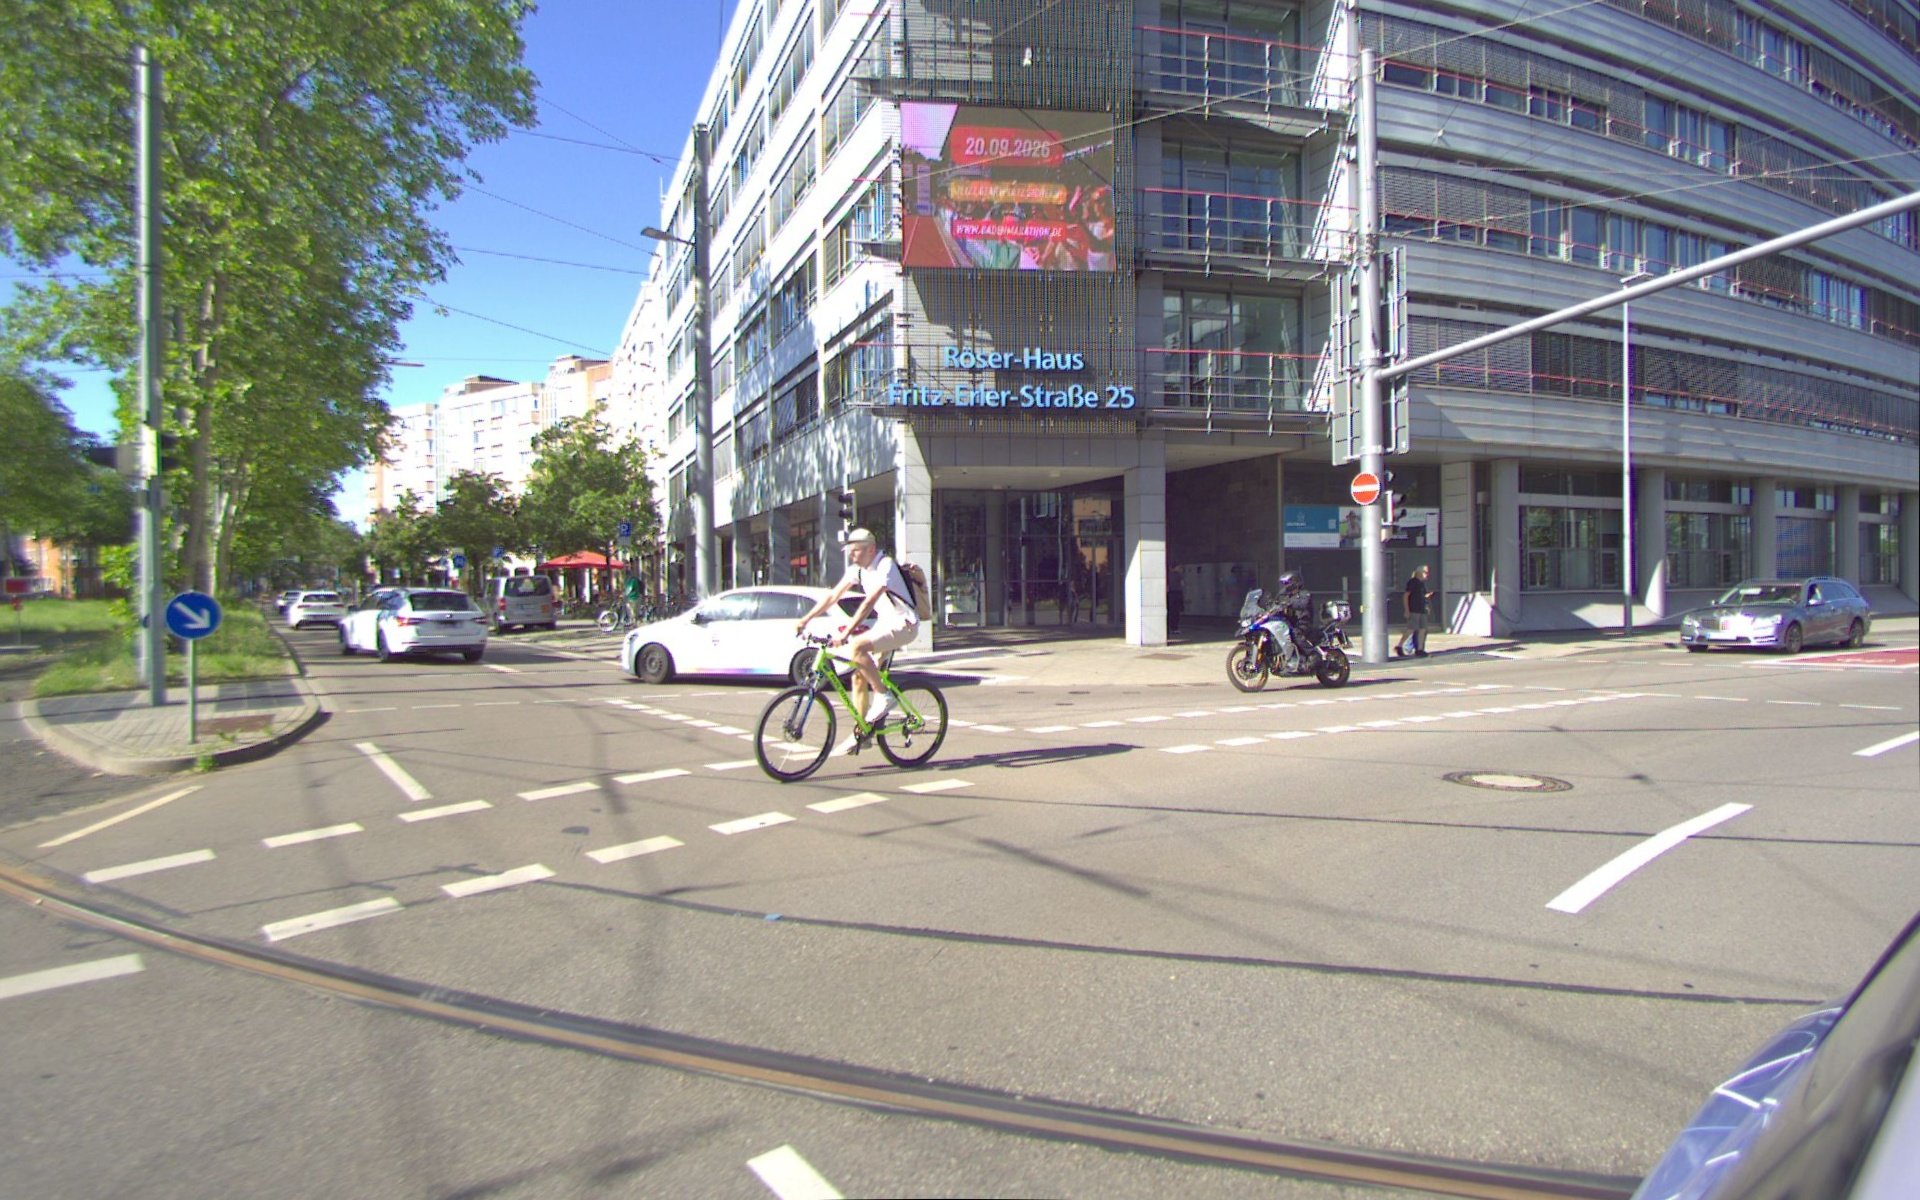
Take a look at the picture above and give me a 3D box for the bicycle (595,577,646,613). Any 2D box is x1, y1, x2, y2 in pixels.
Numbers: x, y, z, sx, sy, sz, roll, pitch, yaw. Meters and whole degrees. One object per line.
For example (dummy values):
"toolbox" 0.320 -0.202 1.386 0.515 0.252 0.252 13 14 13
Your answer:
"bicycle" -12.467 -0.193 37.161 1.697 1.234 0.469 -3 3 -32

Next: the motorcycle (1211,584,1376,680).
"motorcycle" 4.869 0.430 14.726 2.342 1.216 0.833 -3 1 -27

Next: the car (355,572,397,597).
"car" -39.419 -1.019 68.277 1.878 1.604 3.995 0 -1 -39

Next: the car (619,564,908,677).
"car" -3.046 0.262 15.895 4.082 1.603 1.902 1 1 18

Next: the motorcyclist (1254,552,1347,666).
"motorcyclist" 4.952 0.117 14.735 0.923 1.580 0.833 -2 1 -26

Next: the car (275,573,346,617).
"car" -24.787 -0.154 38.575 1.878 1.604 3.995 0 -1 -39

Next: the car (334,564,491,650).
"car" -11.142 0.135 20.463 1.880 1.561 4.129 -2 0 -42

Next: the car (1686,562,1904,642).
"car" 17.306 -0.013 20.931 4.691 1.413 1.730 -2 2 -27

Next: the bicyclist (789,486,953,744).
"bicyclist" -0.657 0.083 7.519 1.026 1.774 0.651 -1 2 -35

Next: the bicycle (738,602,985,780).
"bicycle" -0.702 0.606 7.501 1.725 1.123 0.651 -2 2 -35

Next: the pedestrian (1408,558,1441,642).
"pedestrian" 9.408 -0.015 20.493 0.557 1.665 0.425 2 3 28

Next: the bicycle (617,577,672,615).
"bicycle" -10.702 -0.146 34.381 1.697 1.234 0.469 -3 3 -32

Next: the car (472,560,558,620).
"car" -15.271 -0.375 34.619 1.787 1.874 4.390 -3 3 -35

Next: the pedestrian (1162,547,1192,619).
"pedestrian" 5.490 -0.433 25.613 0.534 1.806 0.476 -2 2 -39

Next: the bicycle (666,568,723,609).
"bicycle" -8.511 -0.393 32.466 1.697 1.234 0.469 -3 3 -32

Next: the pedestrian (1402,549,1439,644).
"pedestrian" 9.096 -0.085 20.006 0.602 1.820 0.634 1 3 28

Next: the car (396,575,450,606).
"car" -29.008 -0.480 54.625 1.878 1.604 3.995 0 -1 -39

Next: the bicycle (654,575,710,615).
"bicycle" -9.219 -0.179 33.605 1.697 1.234 0.469 -3 3 -32
